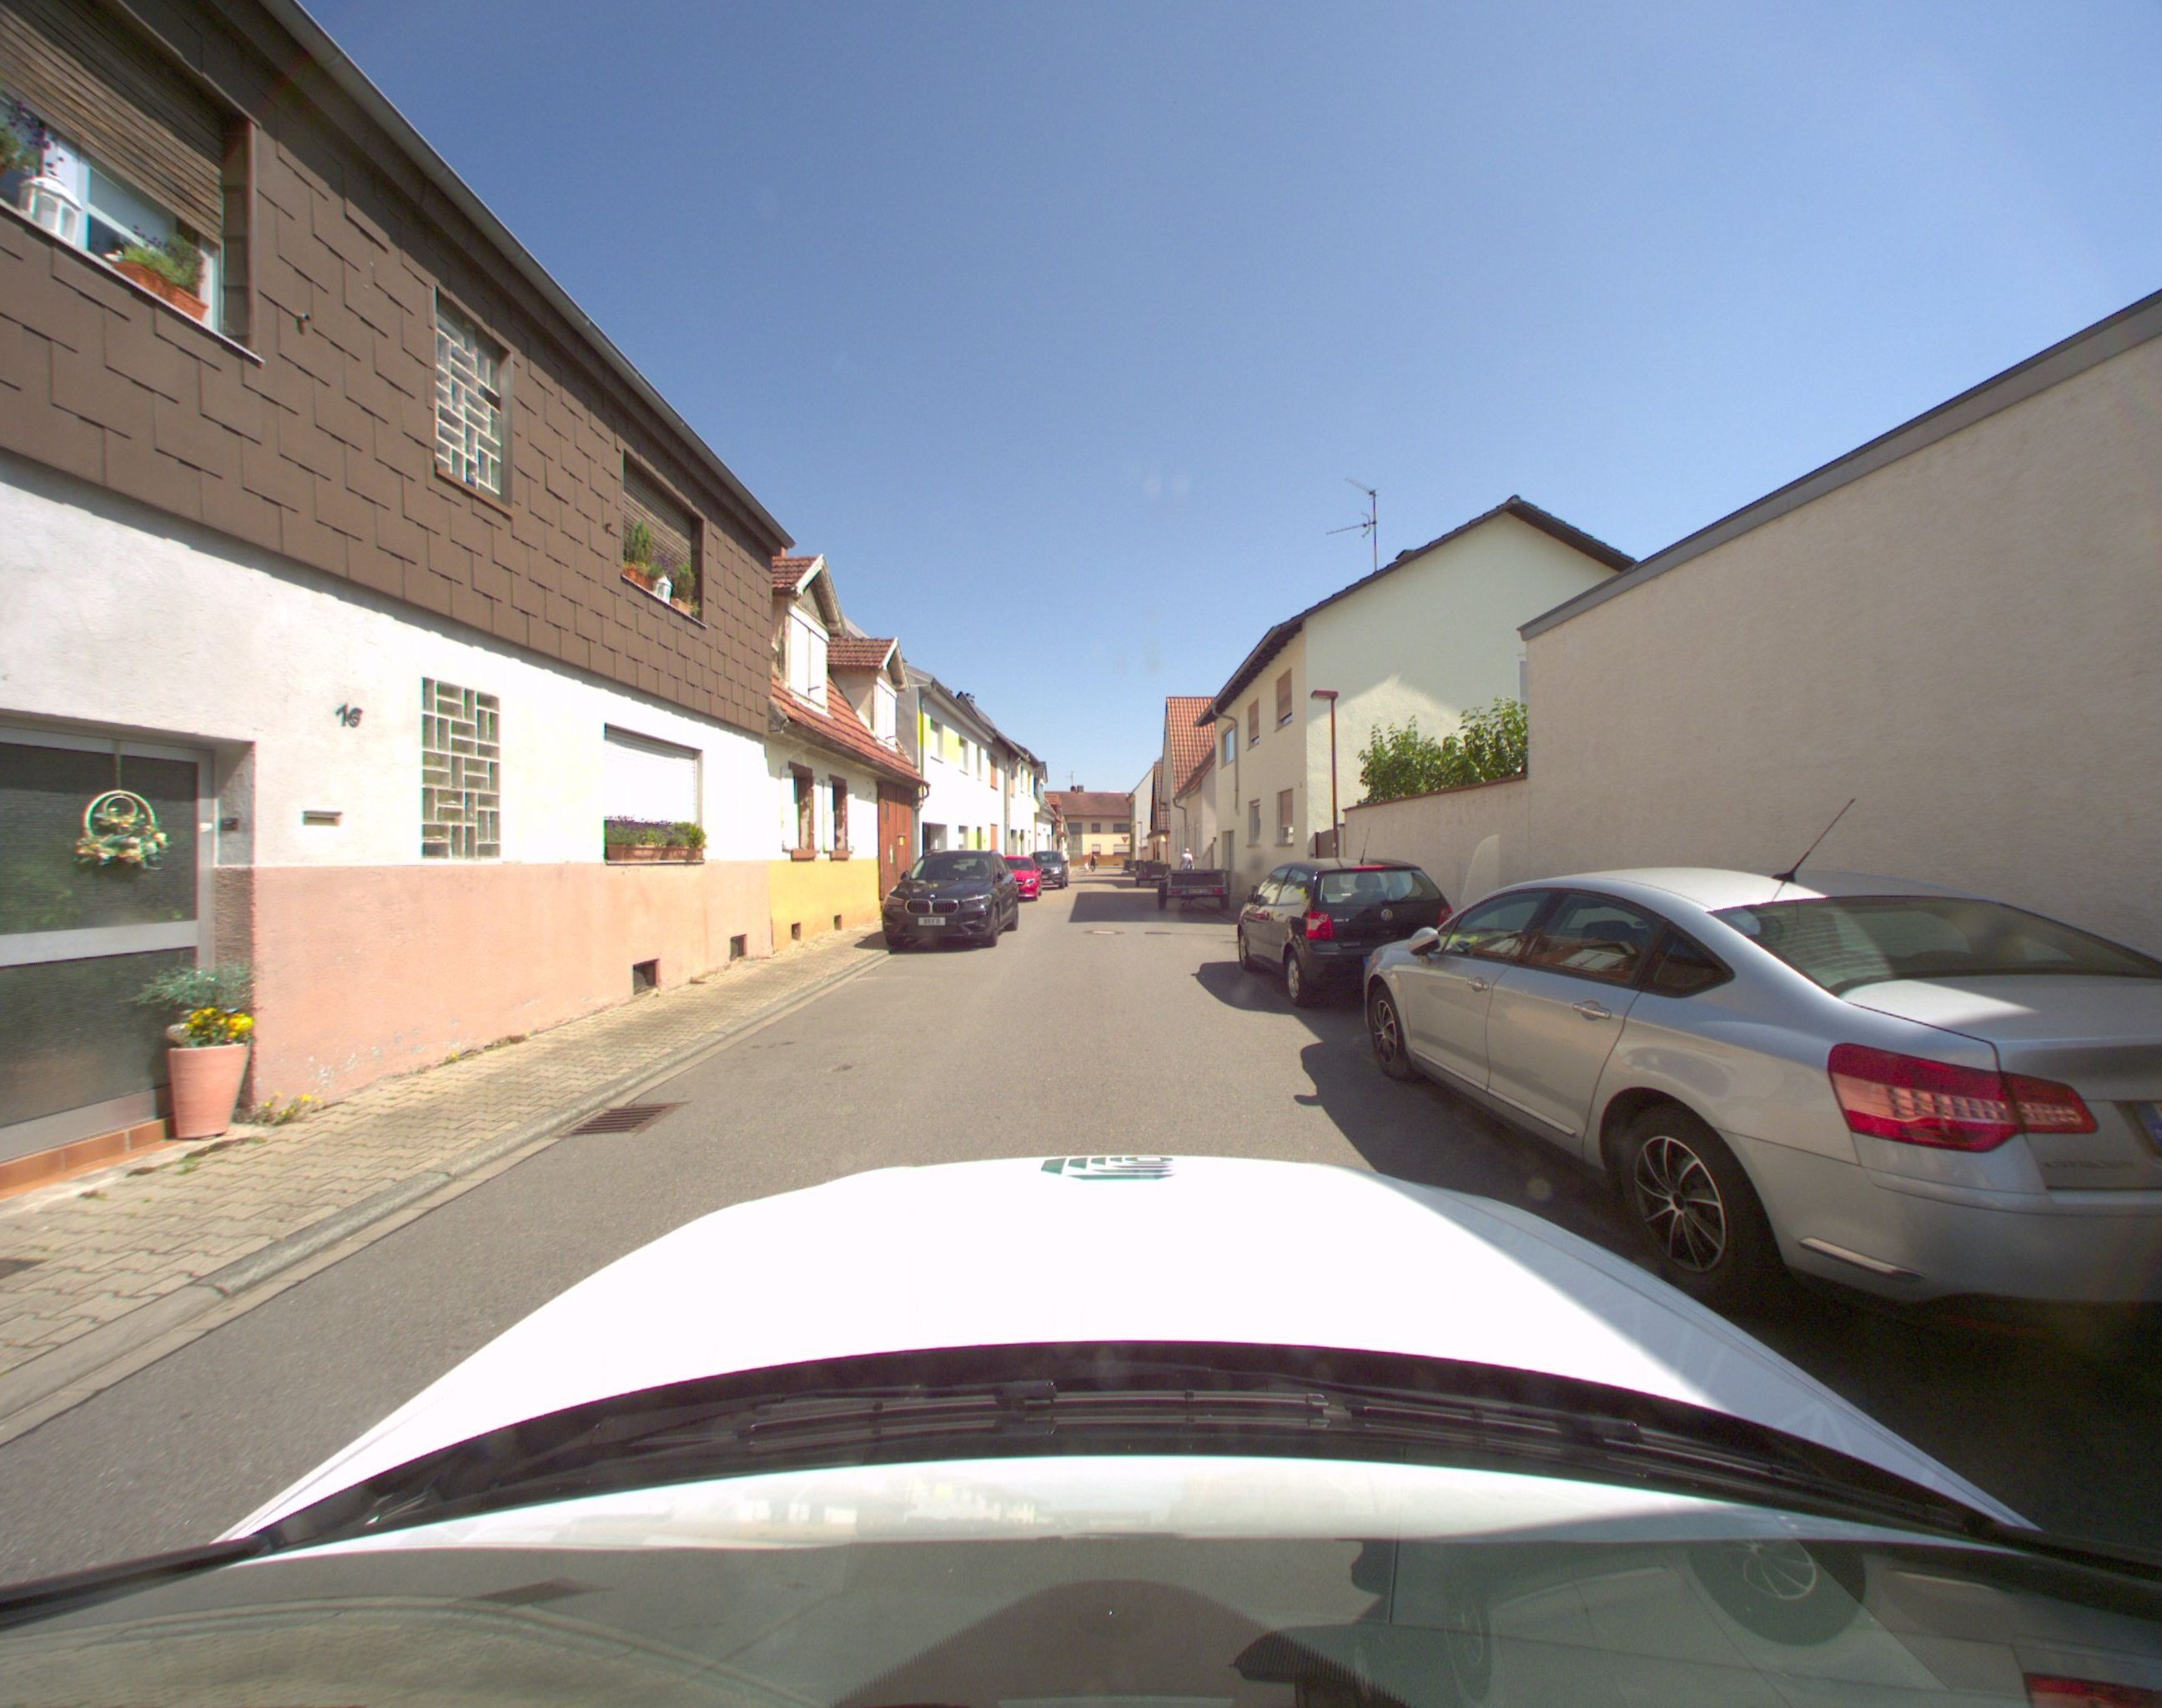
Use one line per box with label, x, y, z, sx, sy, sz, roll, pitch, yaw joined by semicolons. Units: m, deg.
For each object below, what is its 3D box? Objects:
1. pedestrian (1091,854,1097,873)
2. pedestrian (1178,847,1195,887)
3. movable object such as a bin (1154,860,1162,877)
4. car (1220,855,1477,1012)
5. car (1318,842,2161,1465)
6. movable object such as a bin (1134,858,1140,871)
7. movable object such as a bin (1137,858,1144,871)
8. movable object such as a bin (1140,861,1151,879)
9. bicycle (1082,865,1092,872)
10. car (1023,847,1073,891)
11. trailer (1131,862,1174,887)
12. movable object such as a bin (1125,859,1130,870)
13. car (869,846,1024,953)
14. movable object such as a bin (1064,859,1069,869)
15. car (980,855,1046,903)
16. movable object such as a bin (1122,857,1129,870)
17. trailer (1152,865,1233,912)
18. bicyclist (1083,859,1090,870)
pedestrian;1.094;0.779;69.308;0.411;1.610;0.367;-1;-1;-9
pedestrian;4.287;0.533;33.195;0.594;1.565;0.556;-1;-4;-1
movable object such as a bin;5.035;0.926;53.269;0.456;1.087;0.502;-1;-1;0
car;2.876;0.752;9.730;1.644;1.436;4.132;-1;0;-1
car;2.936;0.746;4.504;1.785;1.481;4.933;-3;0;0
movable object such as a bin;4.896;0.908;71.155;0.424;1.128;0.413;-1;-1;-1
movable object such as a bin;4.975;0.895;68.588;0.524;1.128;0.366;-1;-1;-2
movable object such as a bin;3.718;0.919;46.816;0.583;1.033;0.595;-1;-1;0
bicycle;0.494;1.214;69.003;0.443;0.567;0.931;-1;0;-25
car;-1.343;0.629;34.967;1.793;1.704;4.488;-2;0;1
trailer;3.176;0.893;36.683;1.693;1.033;3.482;-1;0;1
movable object such as a bin;4.118;0.900;71.727;0.422;0.975;0.473;-1;-1;-1
car;-2.183;0.691;14.488;1.793;1.574;4.617;-1;0;2
movable object such as a bin;-1.425;0.968;77.824;0.447;0.921;0.404;-1;-1;-2
car;-2.178;0.774;27.211;1.794;1.441;4.486;-1;0;0
movable object such as a bin;3.925;0.825;72.338;0.567;1.128;0.453;-1;-1;-2
trailer;2.909;0.885;21.853;1.810;1.090;3.483;-1;0;2
bicyclist;0.495;0.904;69.014;0.464;0.959;0.349;-1;-2;-28
